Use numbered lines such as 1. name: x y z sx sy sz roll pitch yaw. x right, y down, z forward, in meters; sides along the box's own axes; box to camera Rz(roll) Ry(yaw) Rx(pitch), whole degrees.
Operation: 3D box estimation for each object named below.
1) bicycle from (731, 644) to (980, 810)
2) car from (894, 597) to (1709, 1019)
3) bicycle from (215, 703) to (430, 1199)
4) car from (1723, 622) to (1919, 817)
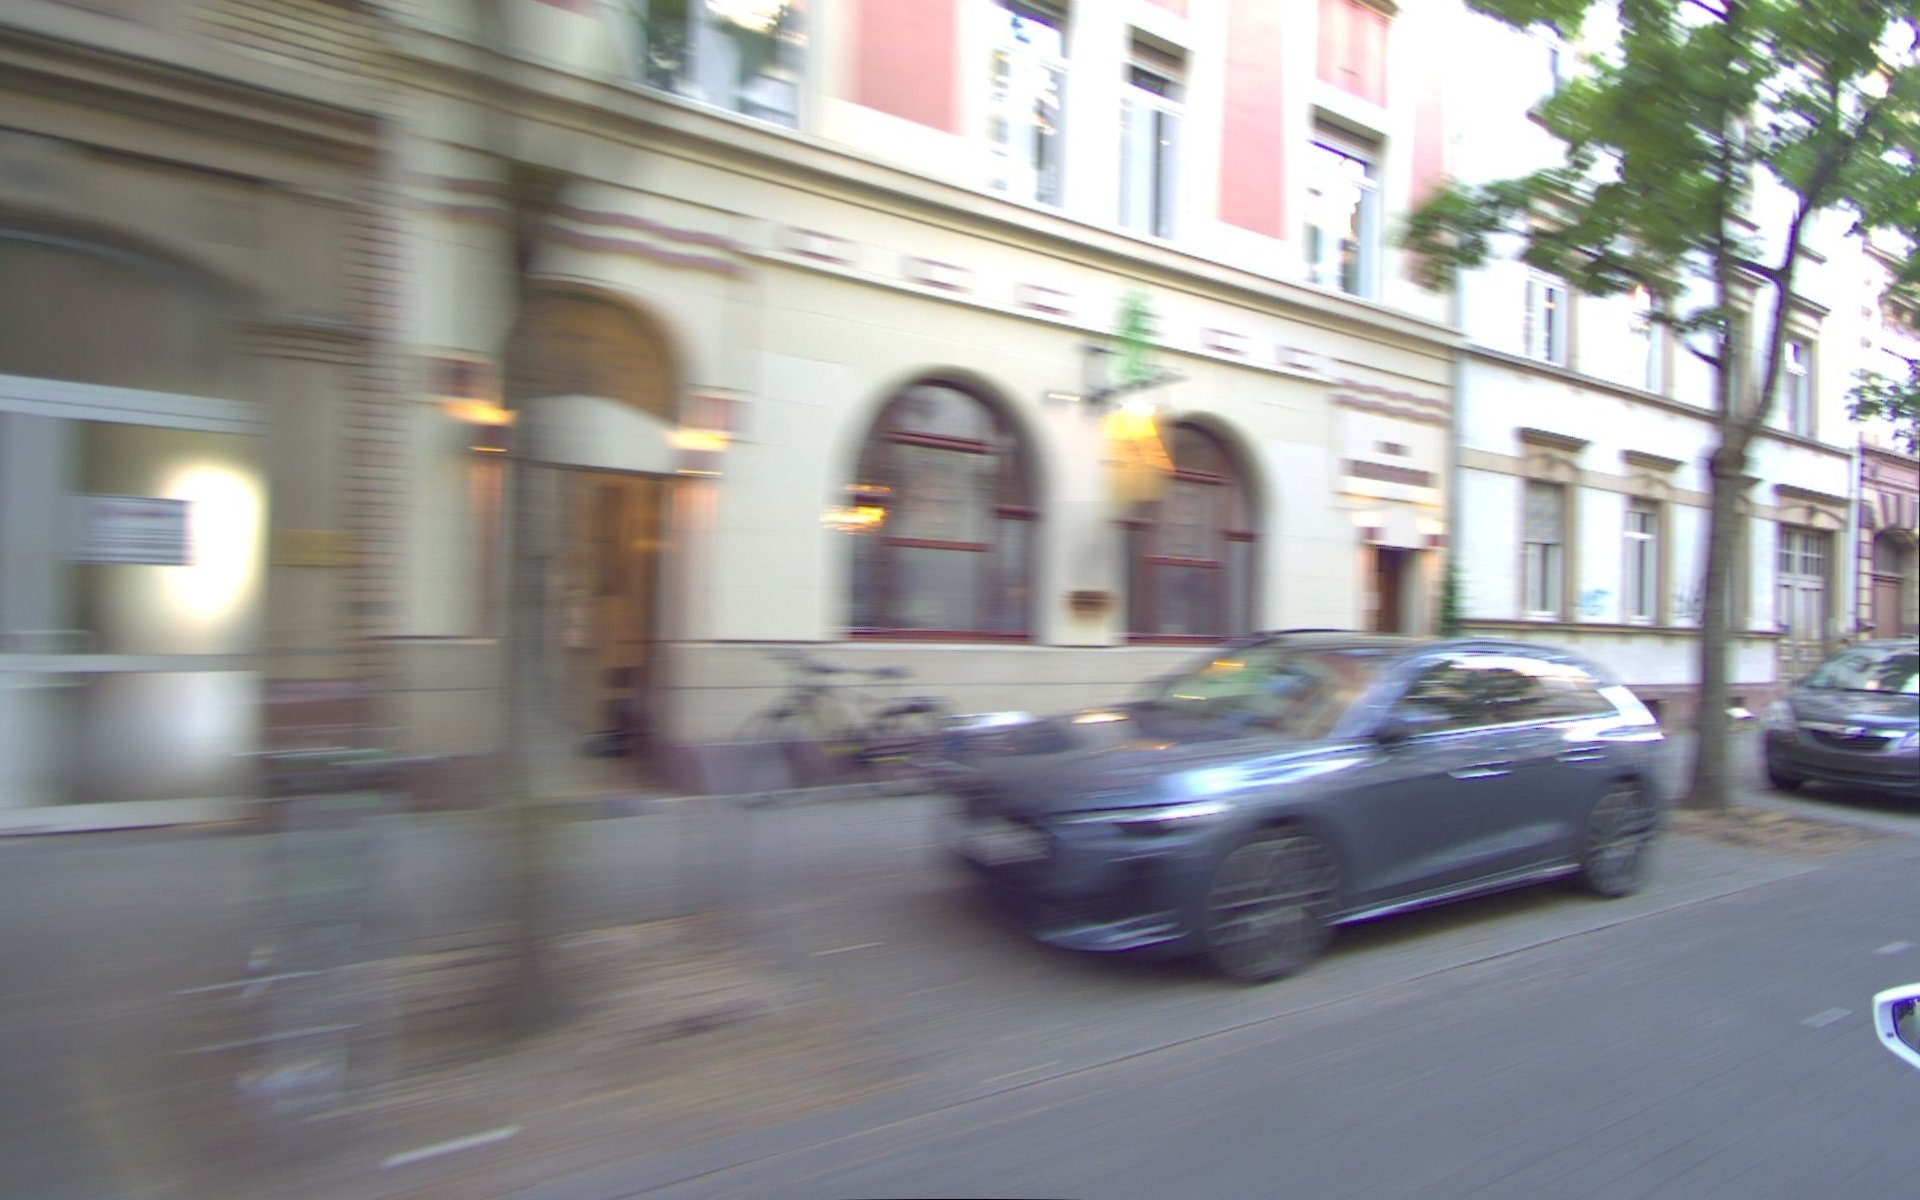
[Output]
1. bicycle: -0.754 0.902 7.493 1.774 1.112 0.523 2 -1 -31
2. car: 2.110 0.848 5.695 4.632 1.538 1.796 2 0 -31
3. bicycle: -1.961 0.952 3.217 0.425 1.017 1.676 2 1 -28
4. car: 9.638 1.085 10.106 4.030 1.602 1.698 2 0 -30
